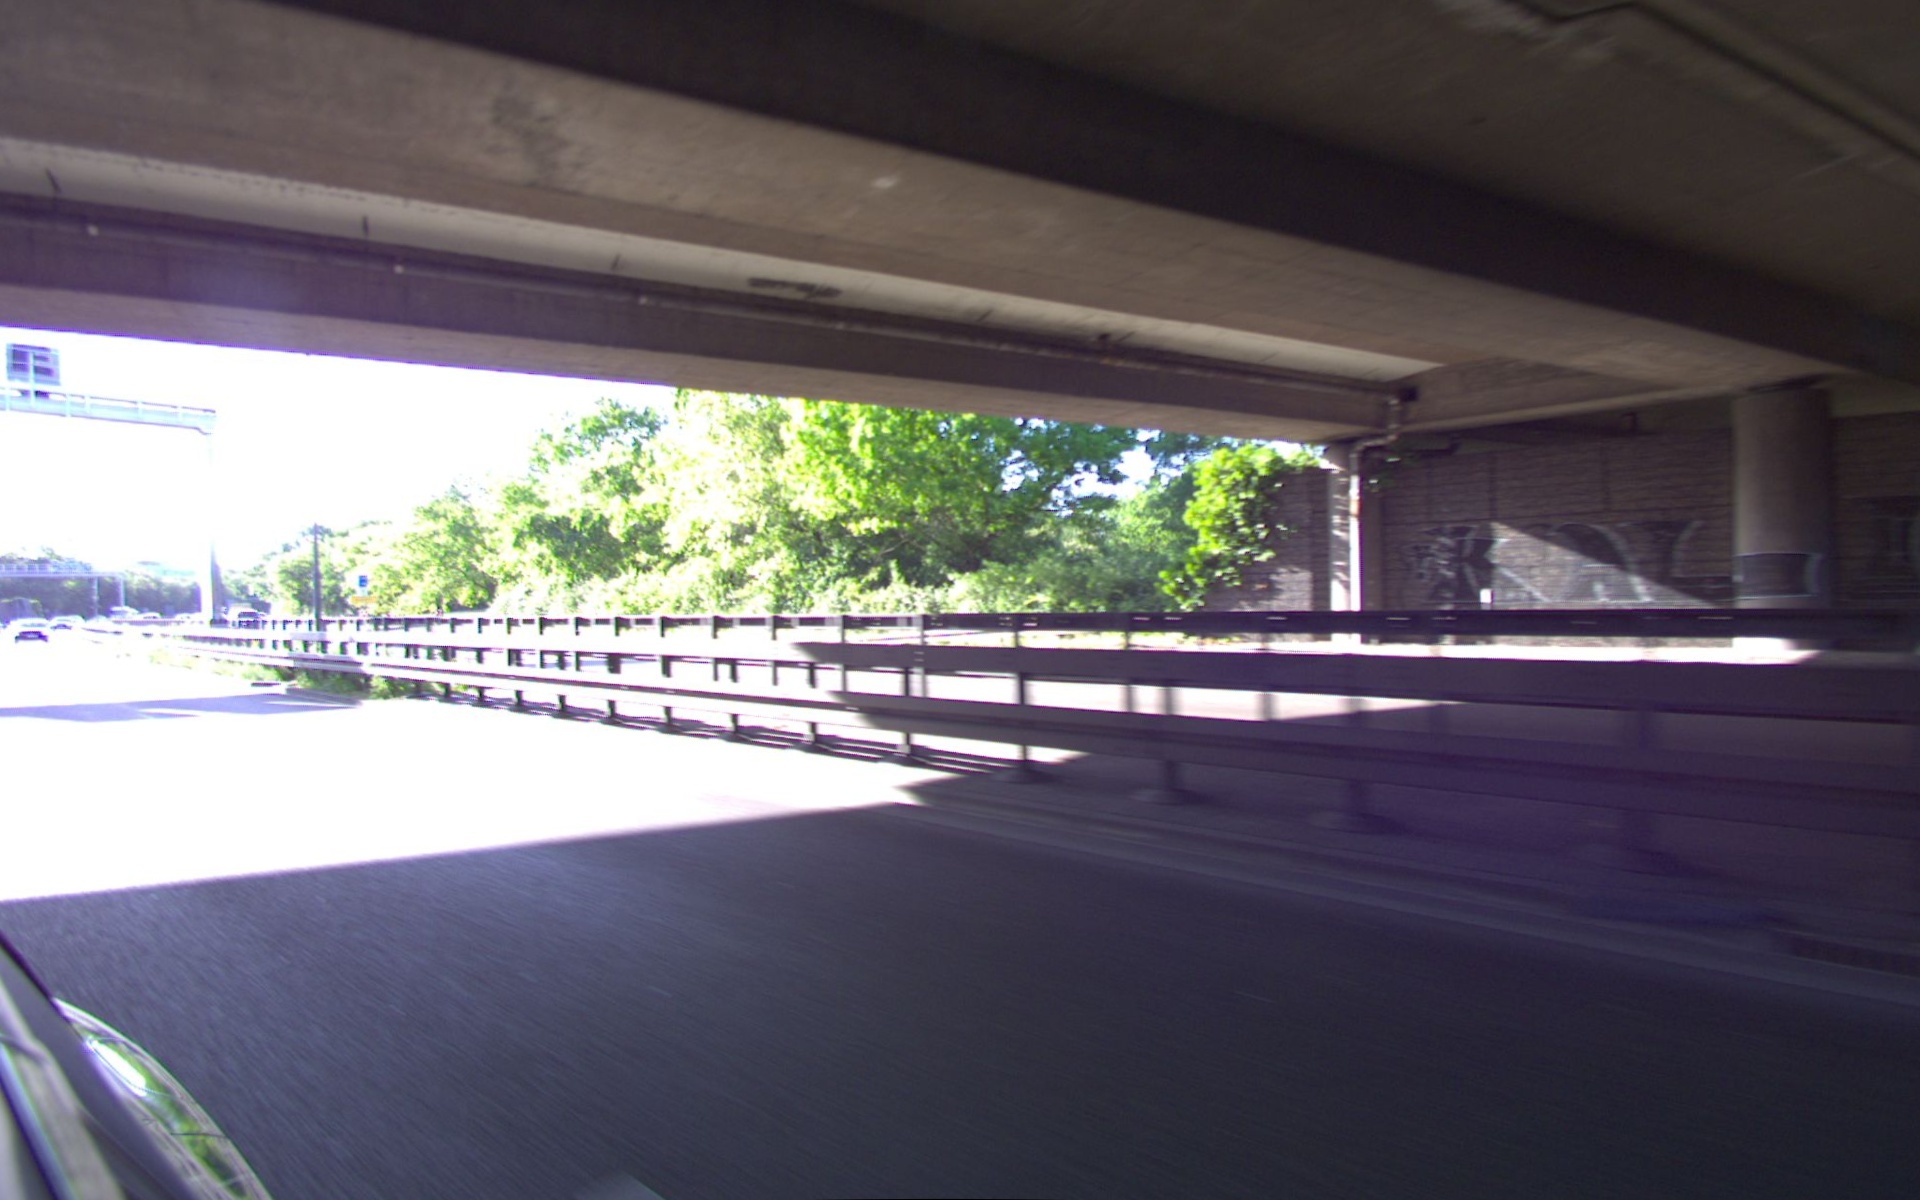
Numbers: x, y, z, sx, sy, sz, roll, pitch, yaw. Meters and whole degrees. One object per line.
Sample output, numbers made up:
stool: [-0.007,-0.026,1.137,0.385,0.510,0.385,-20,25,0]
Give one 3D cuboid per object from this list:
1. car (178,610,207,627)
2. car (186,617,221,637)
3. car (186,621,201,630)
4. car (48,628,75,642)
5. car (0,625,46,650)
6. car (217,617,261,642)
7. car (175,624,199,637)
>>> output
car: [-81.412,2.004,107.312,1.970,1.653,5.032,-2,0,-43]
car: [-66.978,2.375,89.563,1.970,1.653,4.726,-2,0,-43]
car: [-131.822,4.339,173.954,1.968,1.425,4.840,-2,0,-38]
car: [-102.513,3.993,115.520,1.968,1.425,4.840,-2,0,-39]
car: [-59.302,2.346,64.004,1.971,1.425,4.833,-2,0,-45]
car: [-51.878,2.129,72.820,1.970,1.653,4.726,-2,0,-43]
car: [-96.267,3.774,125.991,1.970,1.489,4.725,-2,0,-43]
